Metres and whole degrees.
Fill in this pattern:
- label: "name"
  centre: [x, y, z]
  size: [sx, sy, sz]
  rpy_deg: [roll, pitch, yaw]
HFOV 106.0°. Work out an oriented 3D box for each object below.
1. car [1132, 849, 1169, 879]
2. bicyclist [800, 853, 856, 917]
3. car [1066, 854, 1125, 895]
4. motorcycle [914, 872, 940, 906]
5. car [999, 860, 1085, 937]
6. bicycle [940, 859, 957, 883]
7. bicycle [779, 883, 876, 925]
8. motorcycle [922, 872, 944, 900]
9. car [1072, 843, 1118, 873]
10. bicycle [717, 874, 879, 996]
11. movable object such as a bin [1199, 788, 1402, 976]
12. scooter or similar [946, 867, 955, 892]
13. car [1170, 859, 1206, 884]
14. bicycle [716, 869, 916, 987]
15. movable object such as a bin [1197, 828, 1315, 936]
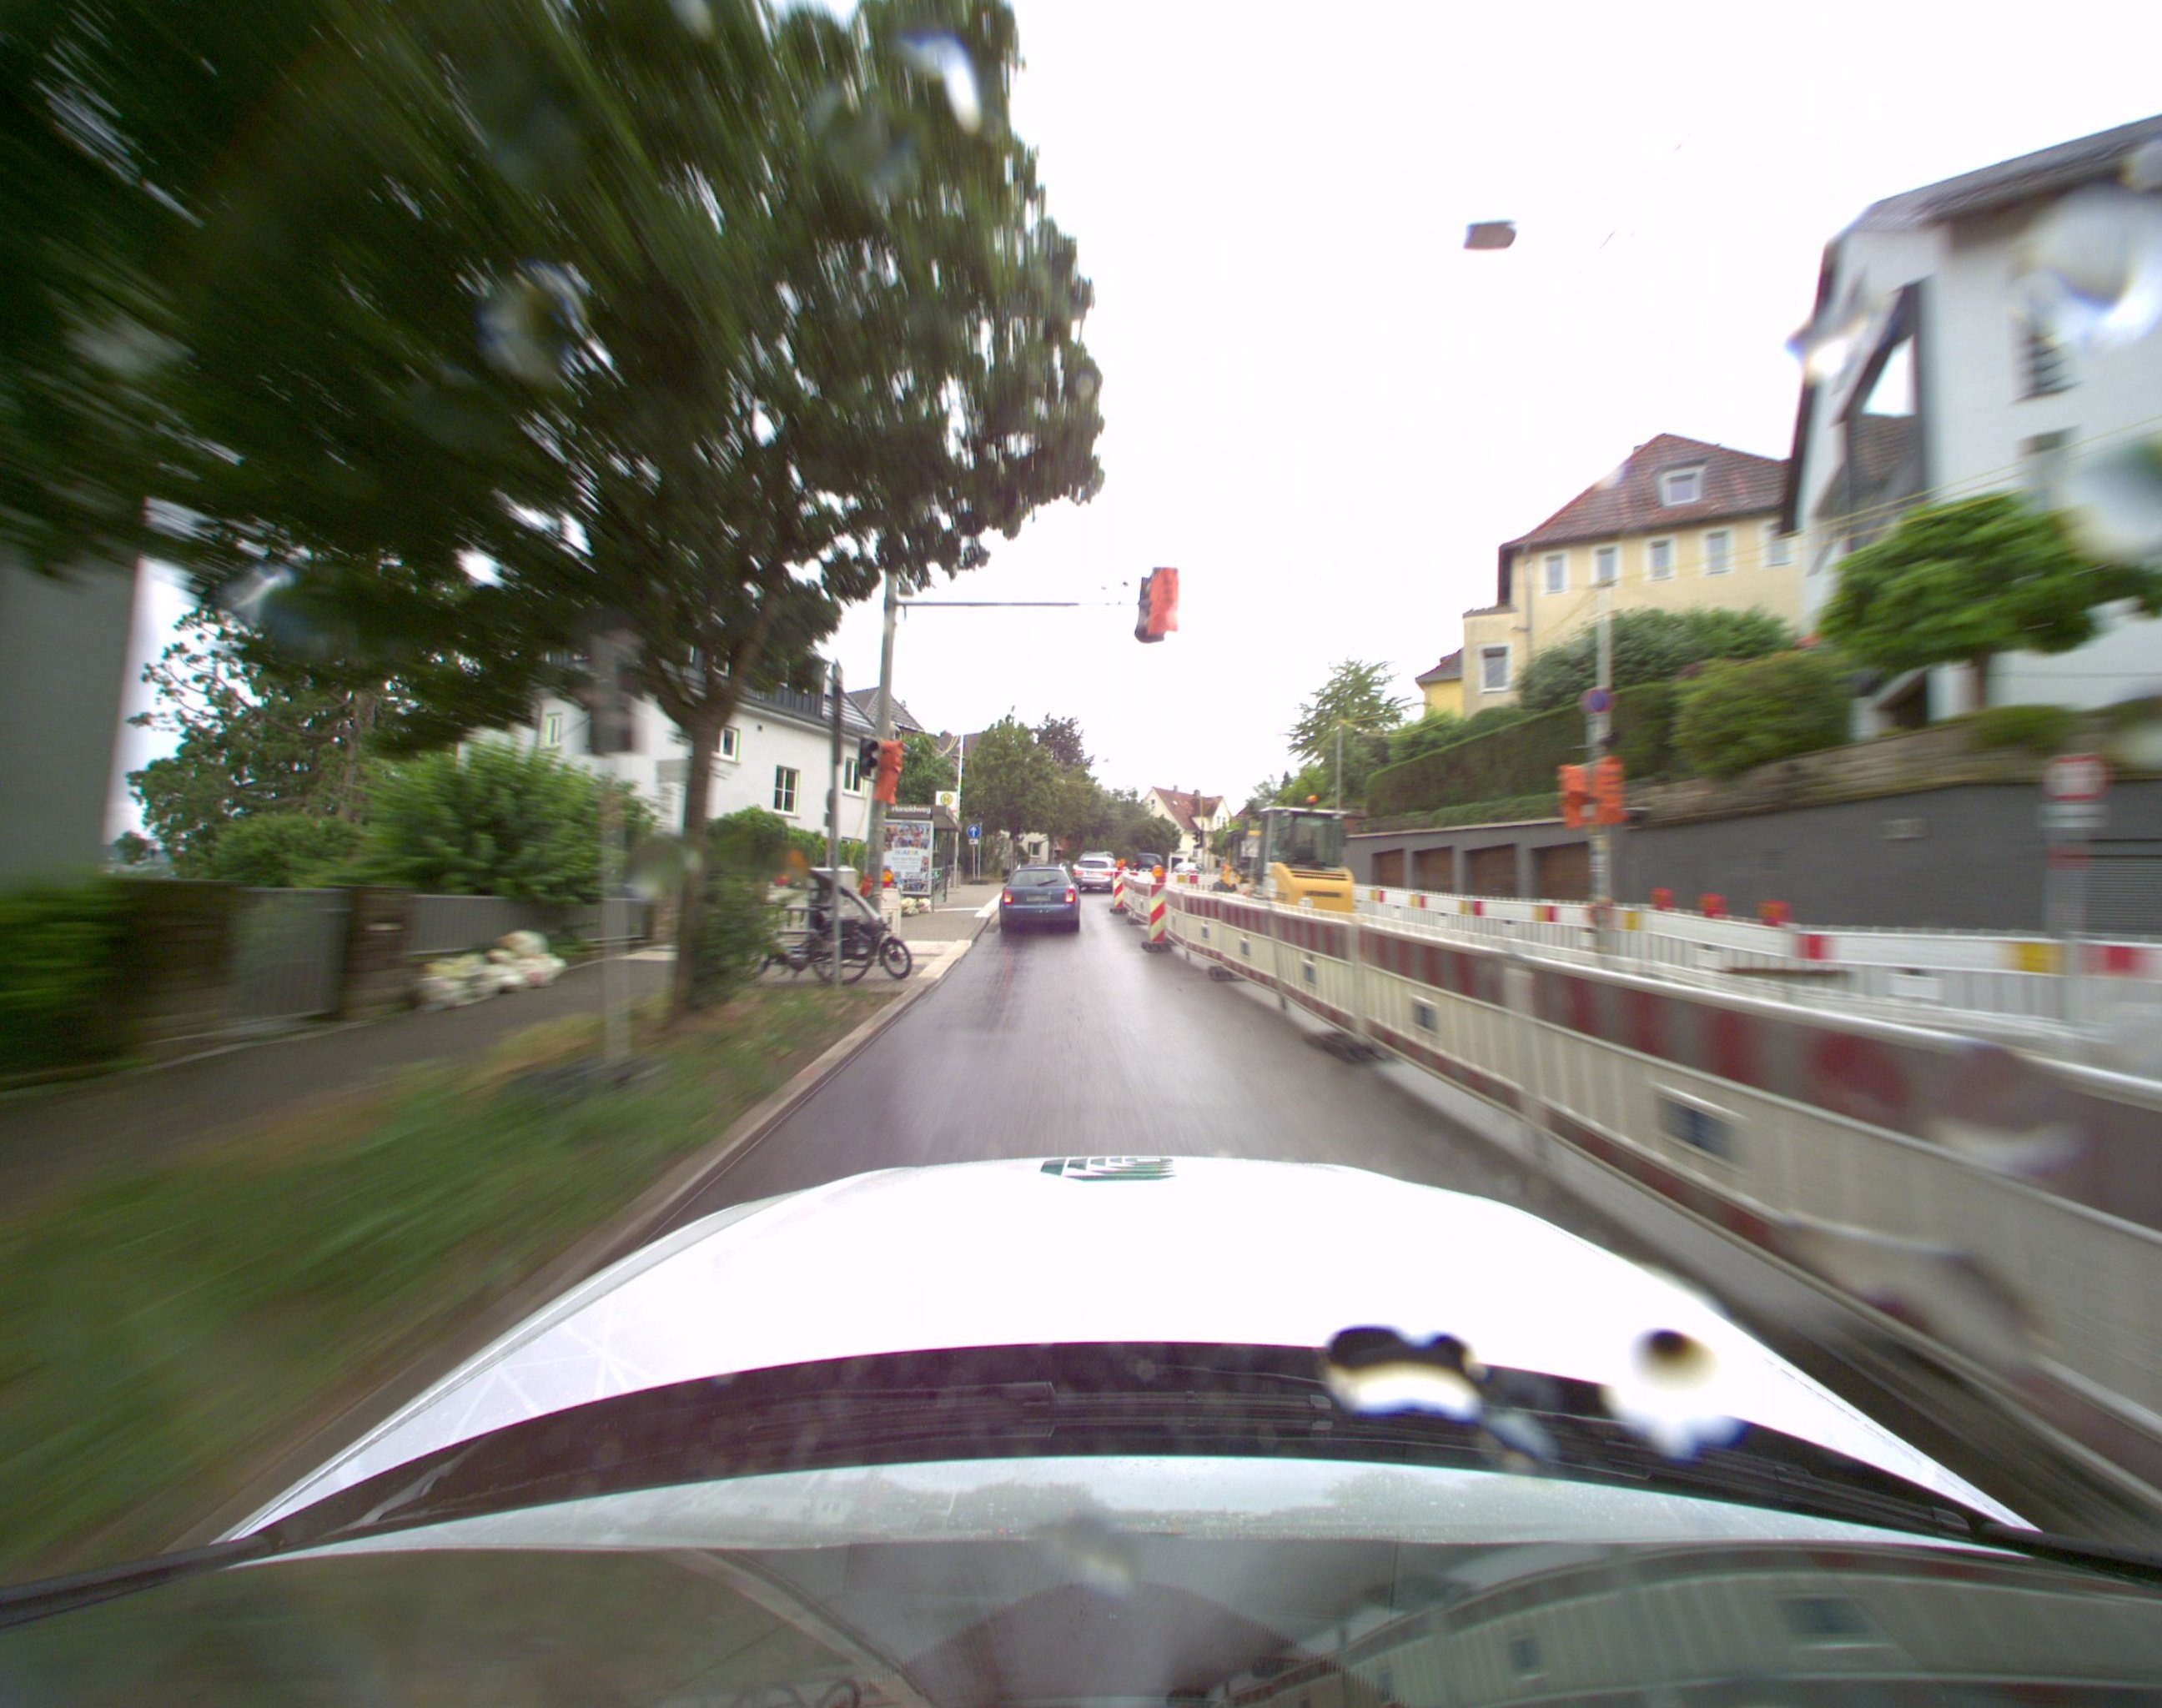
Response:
- label: "car"
  centre: [4.365, 0.585, 50.610]
  size: [1.721, 1.768, 4.250]
  rpy_deg: [-1, 0, 13]
- label: "bicyclist"
  centre: [-5.920, 0.721, 19.104]
  size: [0.901, 1.439, 1.099]
  rpy_deg: [0, -1, 5]
- label: "car"
  centre: [0.702, 0.858, 35.665]
  size: [1.963, 1.635, 4.246]
  rpy_deg: [-1, 1, 9]
- label: "motorcycle"
  centre: [-5.203, 1.168, 27.627]
  size: [0.666, 1.036, 2.148]
  rpy_deg: [0, 0, -6]
- label: "car"
  centre: [-0.873, 0.916, 18.615]
  size: [1.729, 1.466, 3.997]
  rpy_deg: [-1, 1, -2]
- label: "bicycle"
  centre: [-7.482, 0.932, 45.941]
  size: [0.489, 1.272, 2.273]
  rpy_deg: [3, 0, 1]
- label: "bicycle"
  centre: [-5.913, 1.162, 19.091]
  size: [1.862, 0.932, 1.099]
  rpy_deg: [0, -1, 5]
- label: "motorcycle"
  centre: [-5.452, 1.169, 30.049]
  size: [0.666, 0.933, 2.006]
  rpy_deg: [0, 0, -6]
- label: "car"
  centre: [0.968, 0.312, 52.743]
  size: [1.883, 1.890, 5.171]
  rpy_deg: [0, -1, 14]
- label: "bicycle"
  centre: [-3.259, 0.940, 9.471]
  size: [1.690, 1.345, 0.418]
  rpy_deg: [2, 0, -9]
- label: "movable object such as a bin"
  centre: [3.800, 0.558, 15.350]
  size: [2.081, 2.839, 5.670]
  rpy_deg: [1, -3, -2]
- label: "scooter or similar"
  centre: [-5.648, 1.104, 35.314]
  size: [0.323, 1.080, 1.093]
  rpy_deg: [0, -1, -5]
- label: "car"
  centre: [8.150, 1.342, 61.587]
  size: [1.719, 1.769, 4.256]
  rpy_deg: [2, 0, 21]
- label: "bicycle"
  centre: [-3.200, 0.874, 10.065]
  size: [2.228, 1.362, 0.807]
  rpy_deg: [0, -1, -9]
- label: "movable object such as a bin"
  centre: [5.050, 0.736, 24.471]
  size: [2.081, 2.838, 5.671]
  rpy_deg: [1, 0, -2]
